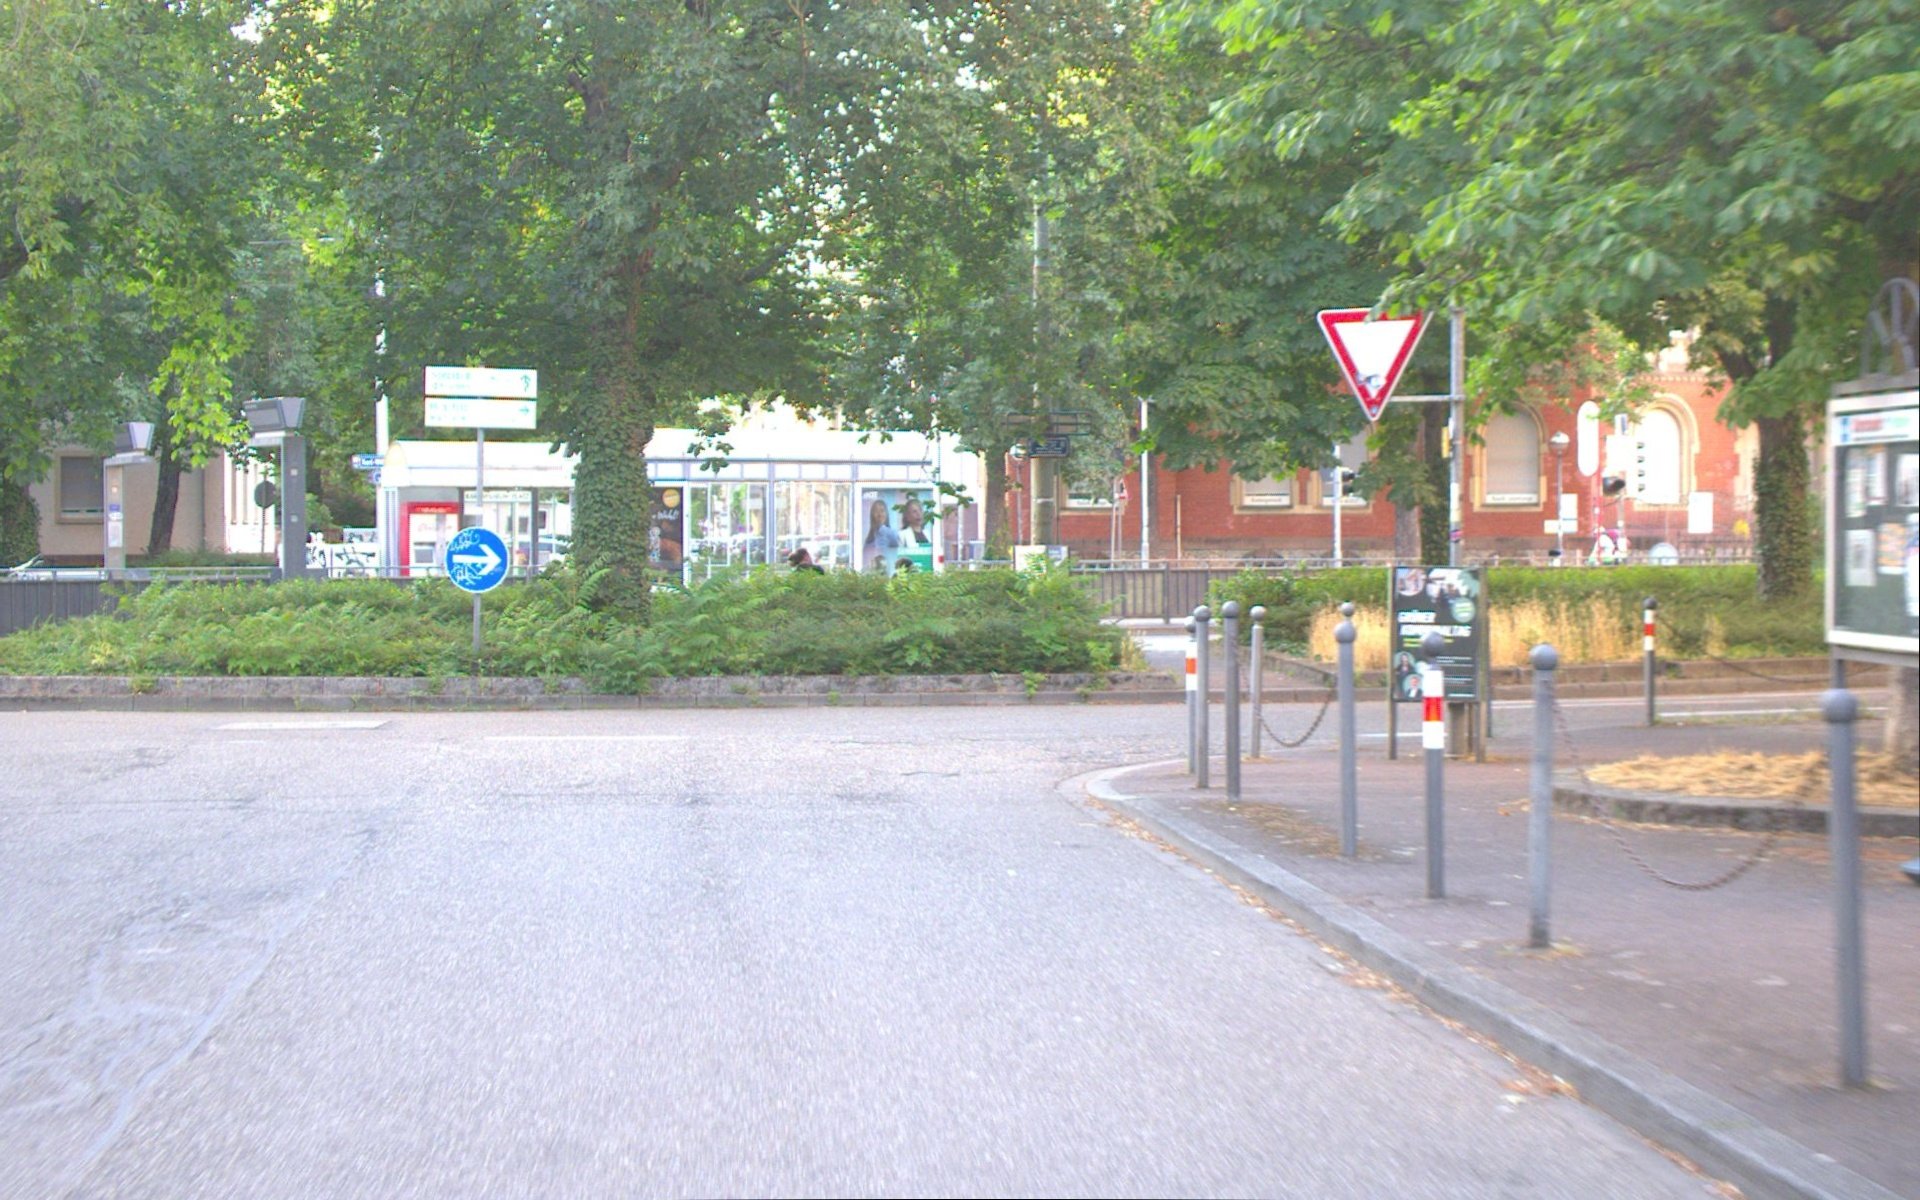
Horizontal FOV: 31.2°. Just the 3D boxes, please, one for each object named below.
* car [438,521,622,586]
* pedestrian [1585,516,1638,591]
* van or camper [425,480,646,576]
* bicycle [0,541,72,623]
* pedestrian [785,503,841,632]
[{"bbox_3d":[-11.927,-1.292,95.171,4.949,1.698,2.001,1,1,-9],"label":"car"},{"bbox_3d":[13.414,-0.966,70.754,0.866,1.521,0.714,1,2,33],"label":"pedestrian"},{"bbox_3d":[-14.577,-2.451,117.756,7.363,3.072,2.674,1,1,-9],"label":"van or camper"},{"bbox_3d":[-12.447,-0.234,44.318,1.849,1.048,0.546,-1,1,-26],"label":"bicycle"},{"bbox_3d":[-1.645,-0.371,38.457,0.616,1.426,0.655,0,2,-4],"label":"pedestrian"}]
